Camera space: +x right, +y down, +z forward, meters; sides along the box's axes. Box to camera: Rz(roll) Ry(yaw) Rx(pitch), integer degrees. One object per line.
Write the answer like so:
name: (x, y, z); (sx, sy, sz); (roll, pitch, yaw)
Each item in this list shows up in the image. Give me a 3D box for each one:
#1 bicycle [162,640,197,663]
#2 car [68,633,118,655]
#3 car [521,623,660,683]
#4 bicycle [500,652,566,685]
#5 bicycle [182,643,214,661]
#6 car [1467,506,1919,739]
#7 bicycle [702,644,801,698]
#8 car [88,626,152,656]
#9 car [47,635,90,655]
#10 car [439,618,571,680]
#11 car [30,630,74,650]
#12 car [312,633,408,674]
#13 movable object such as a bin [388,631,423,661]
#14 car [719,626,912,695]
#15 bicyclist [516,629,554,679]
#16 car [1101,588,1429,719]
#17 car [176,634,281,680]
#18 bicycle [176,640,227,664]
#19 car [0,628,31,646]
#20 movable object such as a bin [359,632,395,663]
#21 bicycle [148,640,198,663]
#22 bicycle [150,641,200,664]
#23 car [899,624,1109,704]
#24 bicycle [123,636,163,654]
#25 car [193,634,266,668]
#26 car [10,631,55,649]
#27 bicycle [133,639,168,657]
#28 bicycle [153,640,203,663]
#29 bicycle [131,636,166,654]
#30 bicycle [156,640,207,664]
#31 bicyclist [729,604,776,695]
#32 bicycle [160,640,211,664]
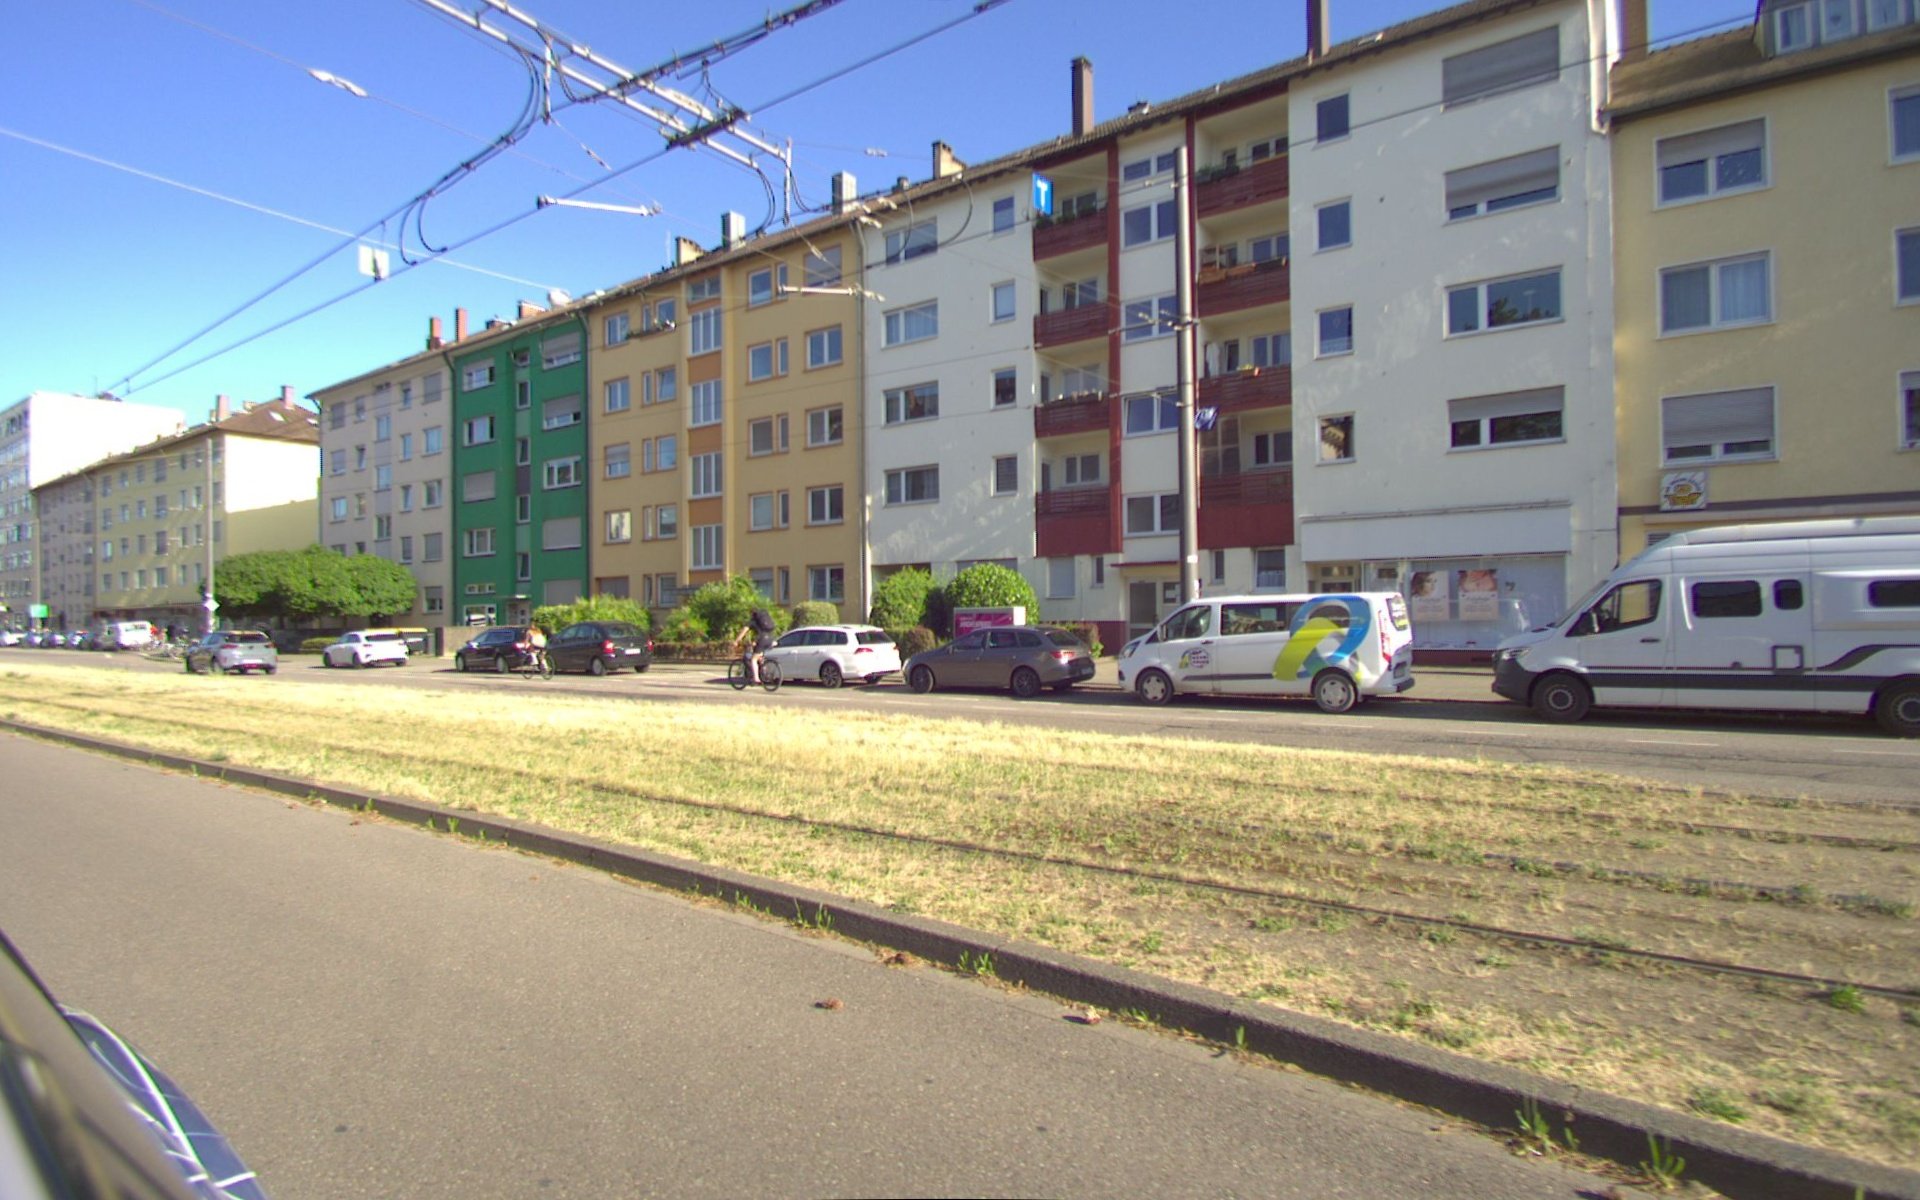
bicycle: (-39.248, 2.597, 50.883); (1.924, 1.101, 0.507); (-2, 1, 25)
car: (-65.134, 3.282, 76.014); (4.586, 1.485, 1.767); (-2, 1, 36)
car: (-11.339, 1.576, 30.982); (4.143, 1.619, 1.976); (-2, 1, 36)
bicycle: (-12.143, 1.929, 28.773); (2.065, 0.886, 0.761); (-2, -3, 36)
bicycle: (-38.967, 2.678, 51.736); (2.042, 0.872, 0.374); (-2, 1, 25)
car: (10.925, 0.312, 14.530); (6.217, 2.890, 2.013); (-2, -1, 37)
bicycle: (-4.787, 1.595, 23.135); (2.470, 1.155, 0.761); (-2, -4, 37)
car: (-60.351, 2.952, 72.671); (5.484, 1.964, 1.978); (-2, 1, 33)
car: (-69.855, 3.495, 79.285); (3.760, 1.395, 1.767); (-2, 1, 36)
car: (-15.281, 1.610, 33.914); (4.600, 1.851, 1.976); (-2, 1, 36)
car: (-74.206, 3.253, 82.709); (4.406, 1.431, 1.767); (-2, 1, 36)
car: (-23.848, 2.086, 40.151); (4.367, 1.465, 1.713); (-2, -1, 36)
movable object such as a bin: (-27.149, 2.238, 49.533); (1.038, 1.378, 1.136); (-1, 1, 38)
car: (-3.650, 1.457, 25.147); (4.691, 1.503, 1.876); (-2, 0, 34)
bicyclist: (-12.056, 1.527, 28.690); (0.647, 1.394, 0.766); (-2, -2, 36)
car: (5.455, 0.902, 18.549); (5.361, 2.036, 2.014); (-2, 1, 37)
car: (-24.385, 1.866, 33.696); (4.210, 1.459, 1.678); (-2, -3, 37)
bicycle: (-39.418, 2.690, 52.640); (2.019, 1.101, 0.617); (-2, 1, -27)
car: (-85.274, 3.331, 90.986); (4.191, 1.497, 1.743); (-2, 1, 36)
movable object such as a bin: (-27.961, 2.280, 48.539); (1.038, 1.378, 1.136); (-1, 1, 38)
bicycle: (-42.757, 2.807, 54.982); (0.615, 1.101, 2.026); (-2, 1, 42)
bicycle: (-42.279, 2.804, 54.551); (0.615, 1.101, 2.026); (-2, 1, 42)
car: (0.903, 1.329, 21.952); (4.314, 1.526, 1.681); (-1, -1, 34)
bicycle: (-56.925, 3.152, 70.497); (0.472, 1.114, 2.079); (-2, 1, 36)
car: (-34.799, 2.403, 48.176); (3.724, 1.453, 1.622); (-2, 0, 34)
car: (-78.487, 3.386, 85.623); (4.403, 1.395, 1.768); (-2, 1, 34)
bicycle: (-55.311, 3.244, 69.149); (0.390, 1.114, 1.803); (-2, 1, 36)
bicycle: (-41.771, 2.753, 54.086); (0.615, 1.101, 2.026); (-2, 1, 42)
bicycle: (-55.666, 3.099, 69.433); (0.390, 1.114, 1.803); (-2, 1, 36)
bicycle: (-41.261, 2.729, 53.658); (0.615, 1.101, 2.026); (-2, 1, 42)
bicyclist: (-4.766, 1.121, 23.283); (0.647, 2.029, 0.766); (-2, 1, 36)
bicycle: (-40.693, 2.730, 53.206); (0.615, 1.101, 2.026); (-2, 1, 42)
